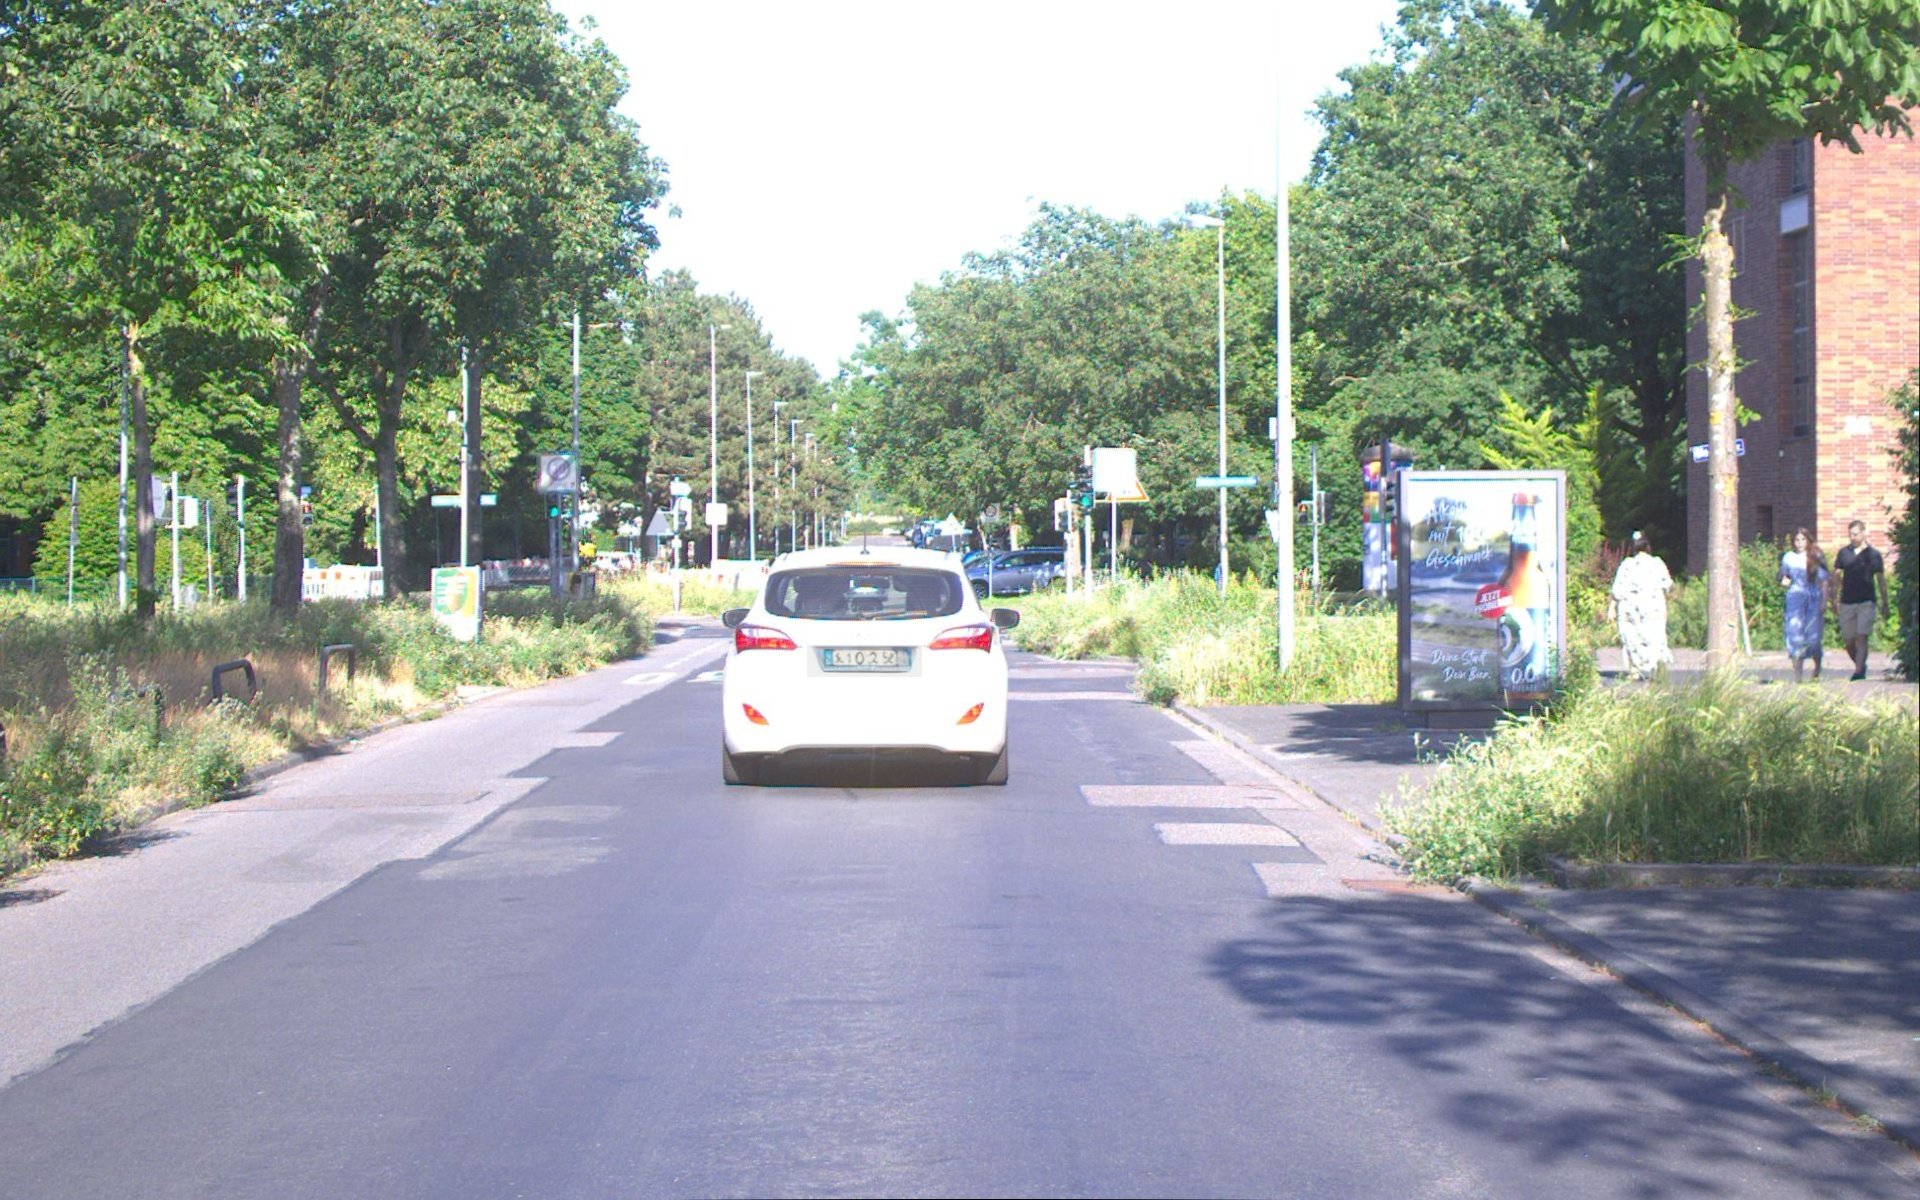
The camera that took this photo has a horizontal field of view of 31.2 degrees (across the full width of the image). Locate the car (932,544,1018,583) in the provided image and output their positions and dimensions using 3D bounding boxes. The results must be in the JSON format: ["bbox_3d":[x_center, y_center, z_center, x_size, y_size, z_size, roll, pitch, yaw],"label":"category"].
[{"bbox_3d":[0.682,-1.662,155.504,3.819,1.678,1.863,1,0,-1],"label":"car"}]

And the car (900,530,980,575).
[{"bbox_3d":[-0.984,-2.265,165.519,3.819,2.091,1.863,1,0,-1],"label":"car"}]

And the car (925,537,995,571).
[{"bbox_3d":[-0.018,-2.527,189.704,3.819,1.761,1.863,1,0,-1],"label":"car"}]

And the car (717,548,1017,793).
[{"bbox_3d":[-0.599,0.394,22.540,1.789,1.458,3.964,0,1,-1],"label":"car"}]

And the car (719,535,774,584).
[{"bbox_3d":[-8.533,-1.634,137.425,1.993,1.809,4.001,1,2,-1],"label":"car"}]

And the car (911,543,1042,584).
[{"bbox_3d":[0.716,-1.565,149.121,5.613,1.678,1.948,1,0,-1],"label":"car"}]

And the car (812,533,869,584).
[{"bbox_3d":[-4.511,-1.583,129.935,1.993,1.809,4.000,3,1,-1],"label":"car"}]

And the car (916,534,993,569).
[{"bbox_3d":[-0.311,-2.719,192.848,4.301,1.901,1.863,1,0,-1],"label":"car"}]

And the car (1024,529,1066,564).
[{"bbox_3d":[4.444,-2.802,180.459,1.993,1.809,4.000,1,0,-1],"label":"car"}]

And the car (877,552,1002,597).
[{"bbox_3d":[-0.741,-0.939,125.355,4.499,1.624,1.855,0,1,2],"label":"car"}]

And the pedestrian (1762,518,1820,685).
[{"bbox_3d":[8.736,0.015,36.129,0.554,1.726,0.661,1,0,15],"label":"pedestrian"}]

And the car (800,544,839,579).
[{"bbox_3d":[-7.590,-2.075,185.975,1.993,1.809,4.000,1,1,-1],"label":"car"}]

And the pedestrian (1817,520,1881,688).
[{"bbox_3d":[9.306,0.038,35.977,0.606,1.726,0.639,1,0,15],"label":"pedestrian"}]

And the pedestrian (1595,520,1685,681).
[{"bbox_3d":[7.808,-0.003,39.463,0.900,1.815,0.735,1,0,19],"label":"pedestrian"}]

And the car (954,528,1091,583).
[{"bbox_3d":[2.069,-1.467,113.519,4.499,1.777,1.855,0,1,2],"label":"car"}]
